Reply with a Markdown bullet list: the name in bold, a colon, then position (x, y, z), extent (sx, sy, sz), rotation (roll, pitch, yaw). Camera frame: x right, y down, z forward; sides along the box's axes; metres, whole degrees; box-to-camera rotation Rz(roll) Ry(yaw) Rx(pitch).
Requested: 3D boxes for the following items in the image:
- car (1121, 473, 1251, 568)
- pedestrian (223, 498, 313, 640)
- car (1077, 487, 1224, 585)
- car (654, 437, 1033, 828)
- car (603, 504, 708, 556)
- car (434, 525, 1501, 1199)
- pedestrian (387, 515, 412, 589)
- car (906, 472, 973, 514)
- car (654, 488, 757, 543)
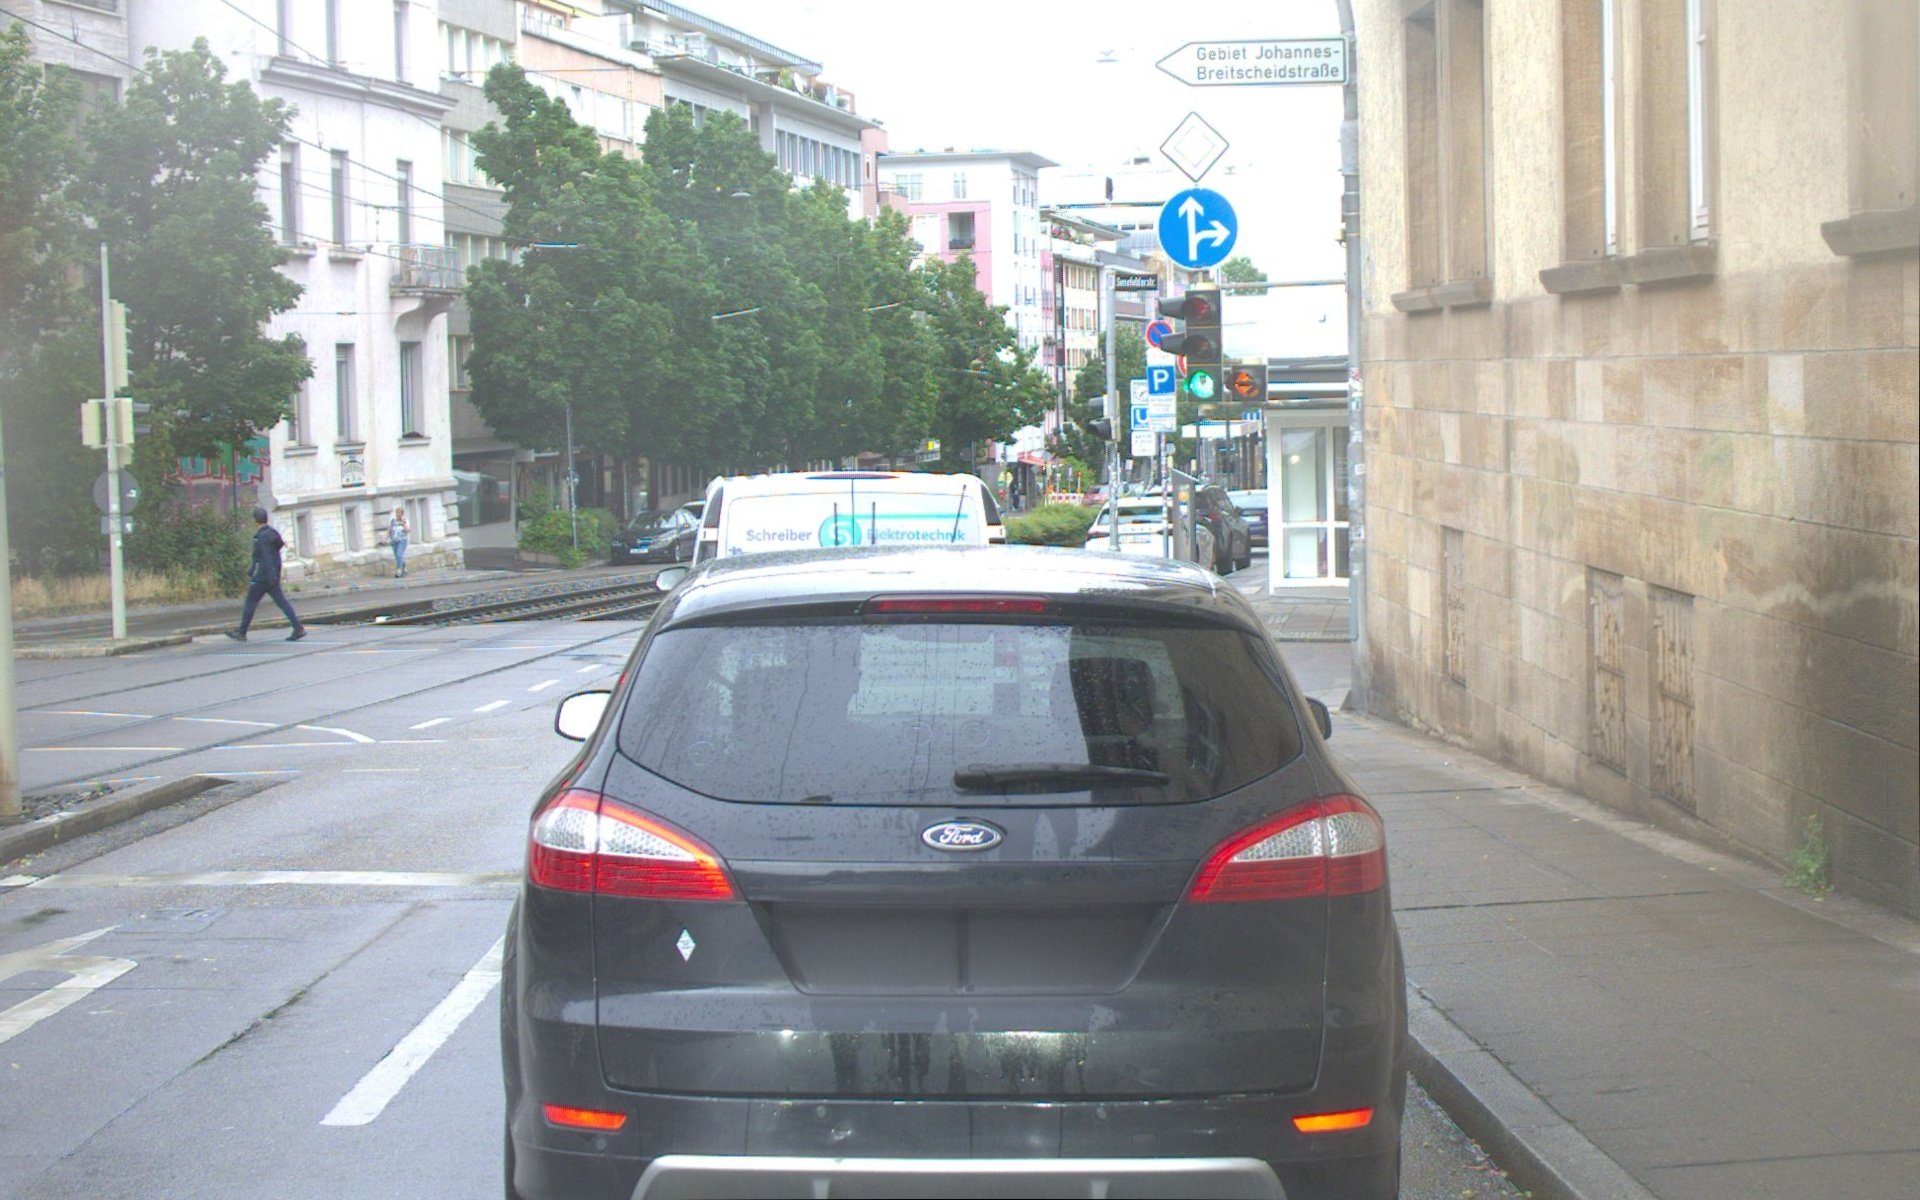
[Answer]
- **car**: position (4.144, -1.429, 62.370), extent (1.846, 1.627, 4.585), rotation (-1, 1, 10)
- **pedestrian**: position (-9.060, -0.403, 45.045), extent (0.930, 1.823, 0.959), rotation (1, 1, 2)
- **car**: position (3.130, -1.038, 55.757), extent (1.802, 1.450, 4.585), rotation (-2, 1, 10)
- **car**: position (-0.682, 0.144, 20.562), extent (1.988, 2.053, 4.645), rotation (1, 1, -2)
- **car**: position (-8.269, -1.887, 93.641), extent (1.694, 1.373, 4.719), rotation (0, 0, 10)
- **car**: position (-0.017, 0.605, 7.972), extent (1.842, 1.502, 4.000), rotation (1, 1, -1)
- **pedestrian**: position (-12.662, -1.086, 77.630), extent (0.467, 1.646, 0.582), rotation (1, 1, -2)
- **car**: position (-0.805, -4.314, 139.077), extent (1.856, 1.631, 4.933), rotation (0, 1, 10)
- **car**: position (-7.334, -2.432, 99.541), extent (1.856, 1.543, 4.719), rotation (0, 1, 10)
